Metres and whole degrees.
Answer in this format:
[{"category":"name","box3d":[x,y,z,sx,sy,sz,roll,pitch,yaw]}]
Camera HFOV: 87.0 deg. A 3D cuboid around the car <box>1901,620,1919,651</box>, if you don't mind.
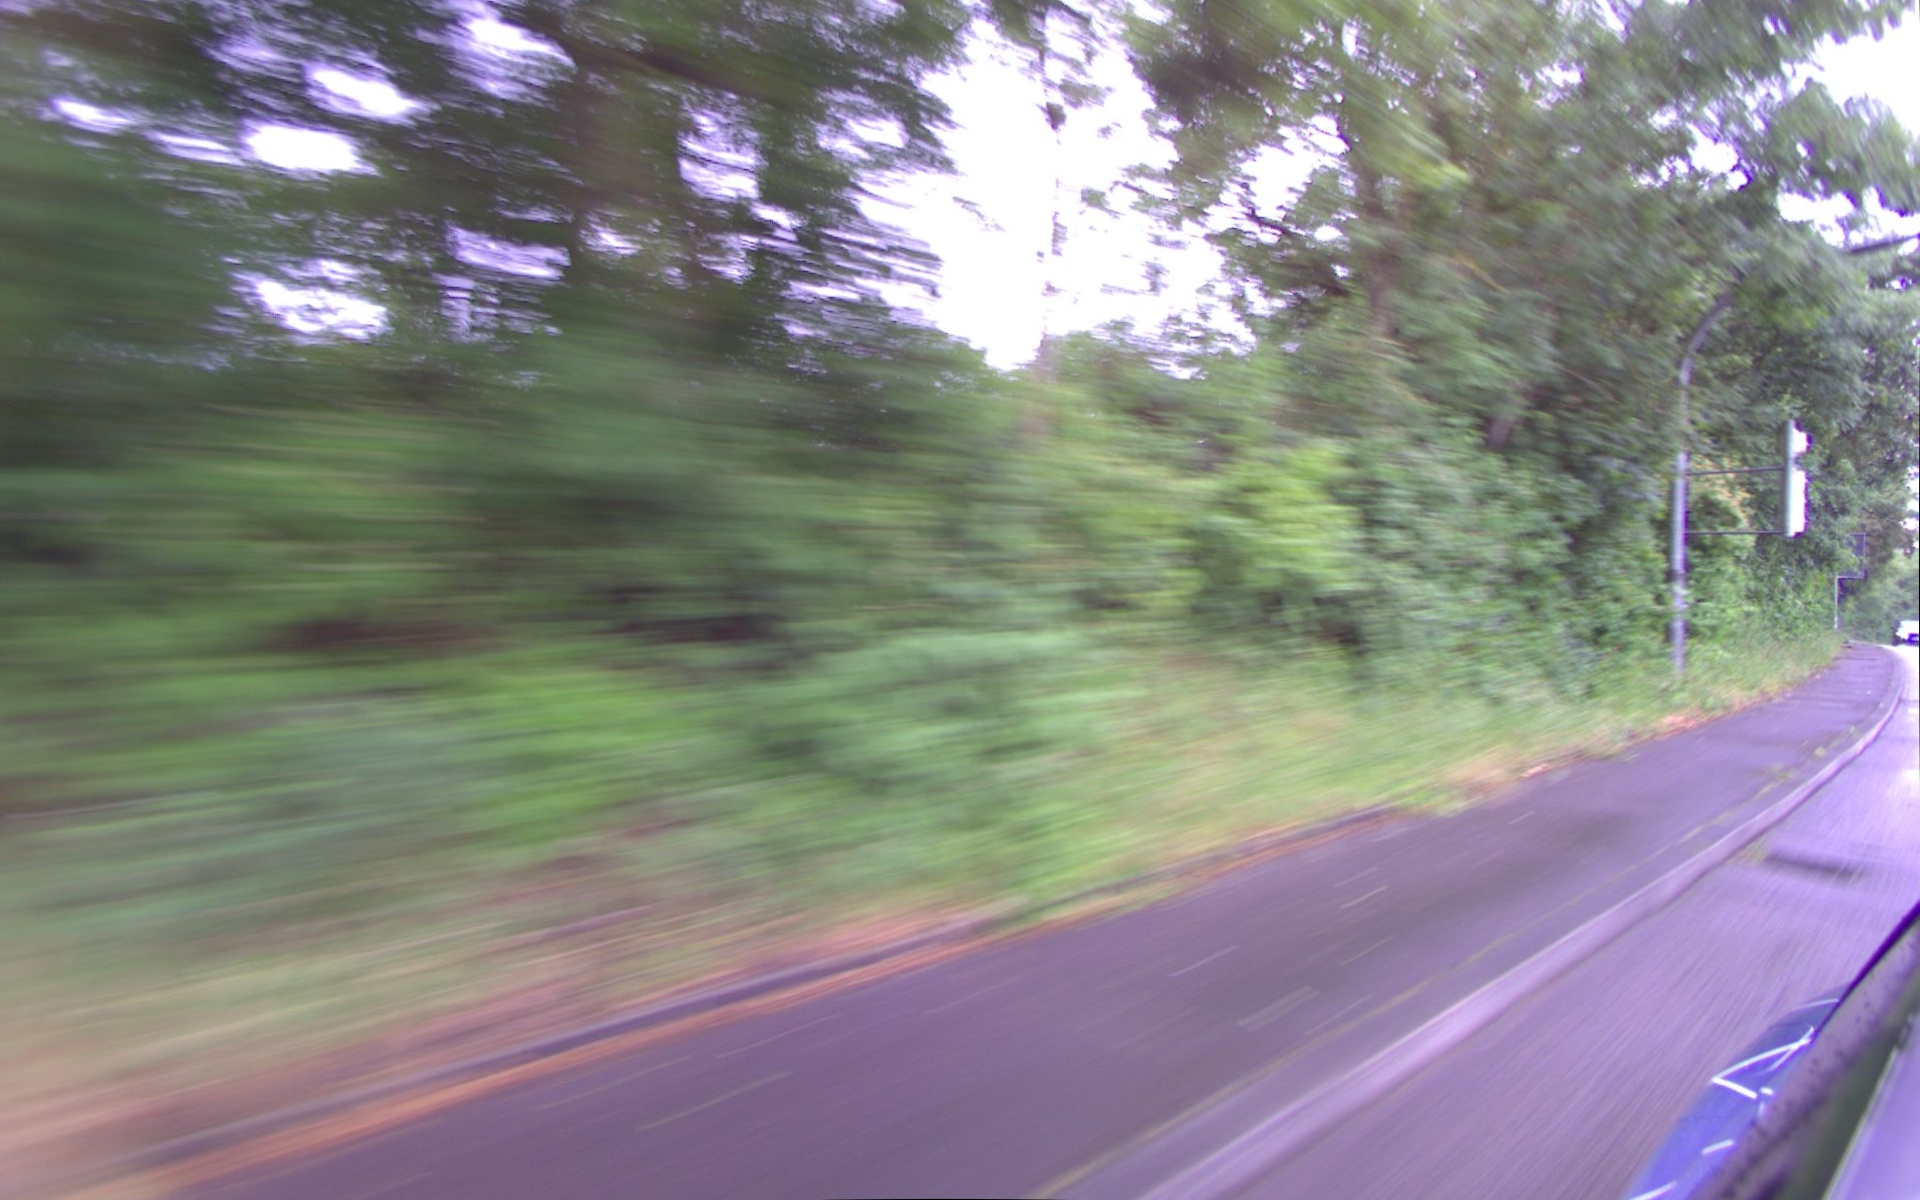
[{"category":"car","box3d":[52.789,1.992,55.259,1.994,1.605,3.936,4,1,44]}]
